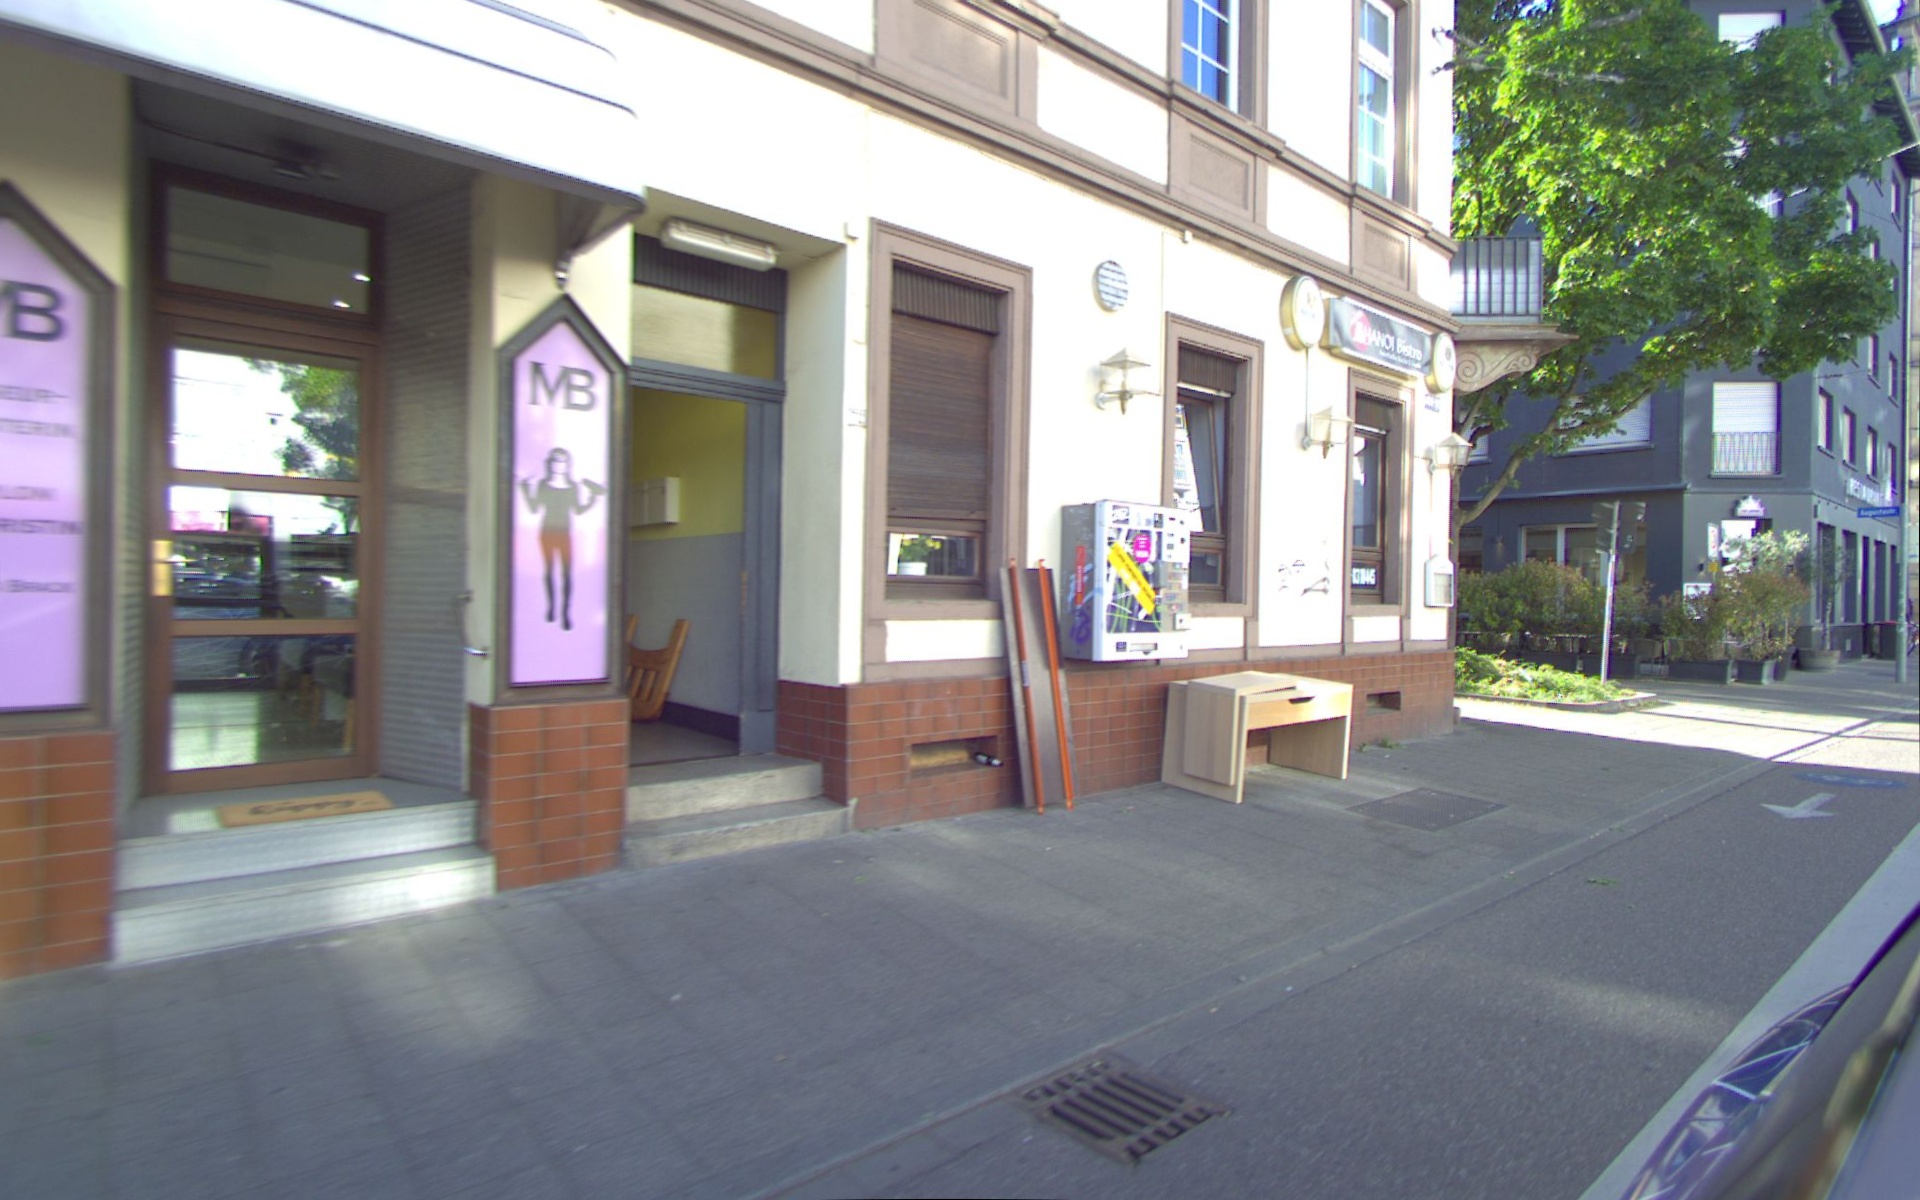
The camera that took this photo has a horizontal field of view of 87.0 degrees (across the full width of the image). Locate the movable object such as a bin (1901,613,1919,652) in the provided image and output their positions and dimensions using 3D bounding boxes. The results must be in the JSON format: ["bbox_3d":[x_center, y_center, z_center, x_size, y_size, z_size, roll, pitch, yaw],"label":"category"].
[{"bbox_3d":[26.668,0.900,28.101,0.626,1.082,0.716,1,-1,-41],"label":"movable object such as a bin"}]

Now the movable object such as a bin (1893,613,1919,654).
[{"bbox_3d":[26.019,0.905,27.652,0.626,1.082,0.716,1,-1,-41],"label":"movable object such as a bin"}]
